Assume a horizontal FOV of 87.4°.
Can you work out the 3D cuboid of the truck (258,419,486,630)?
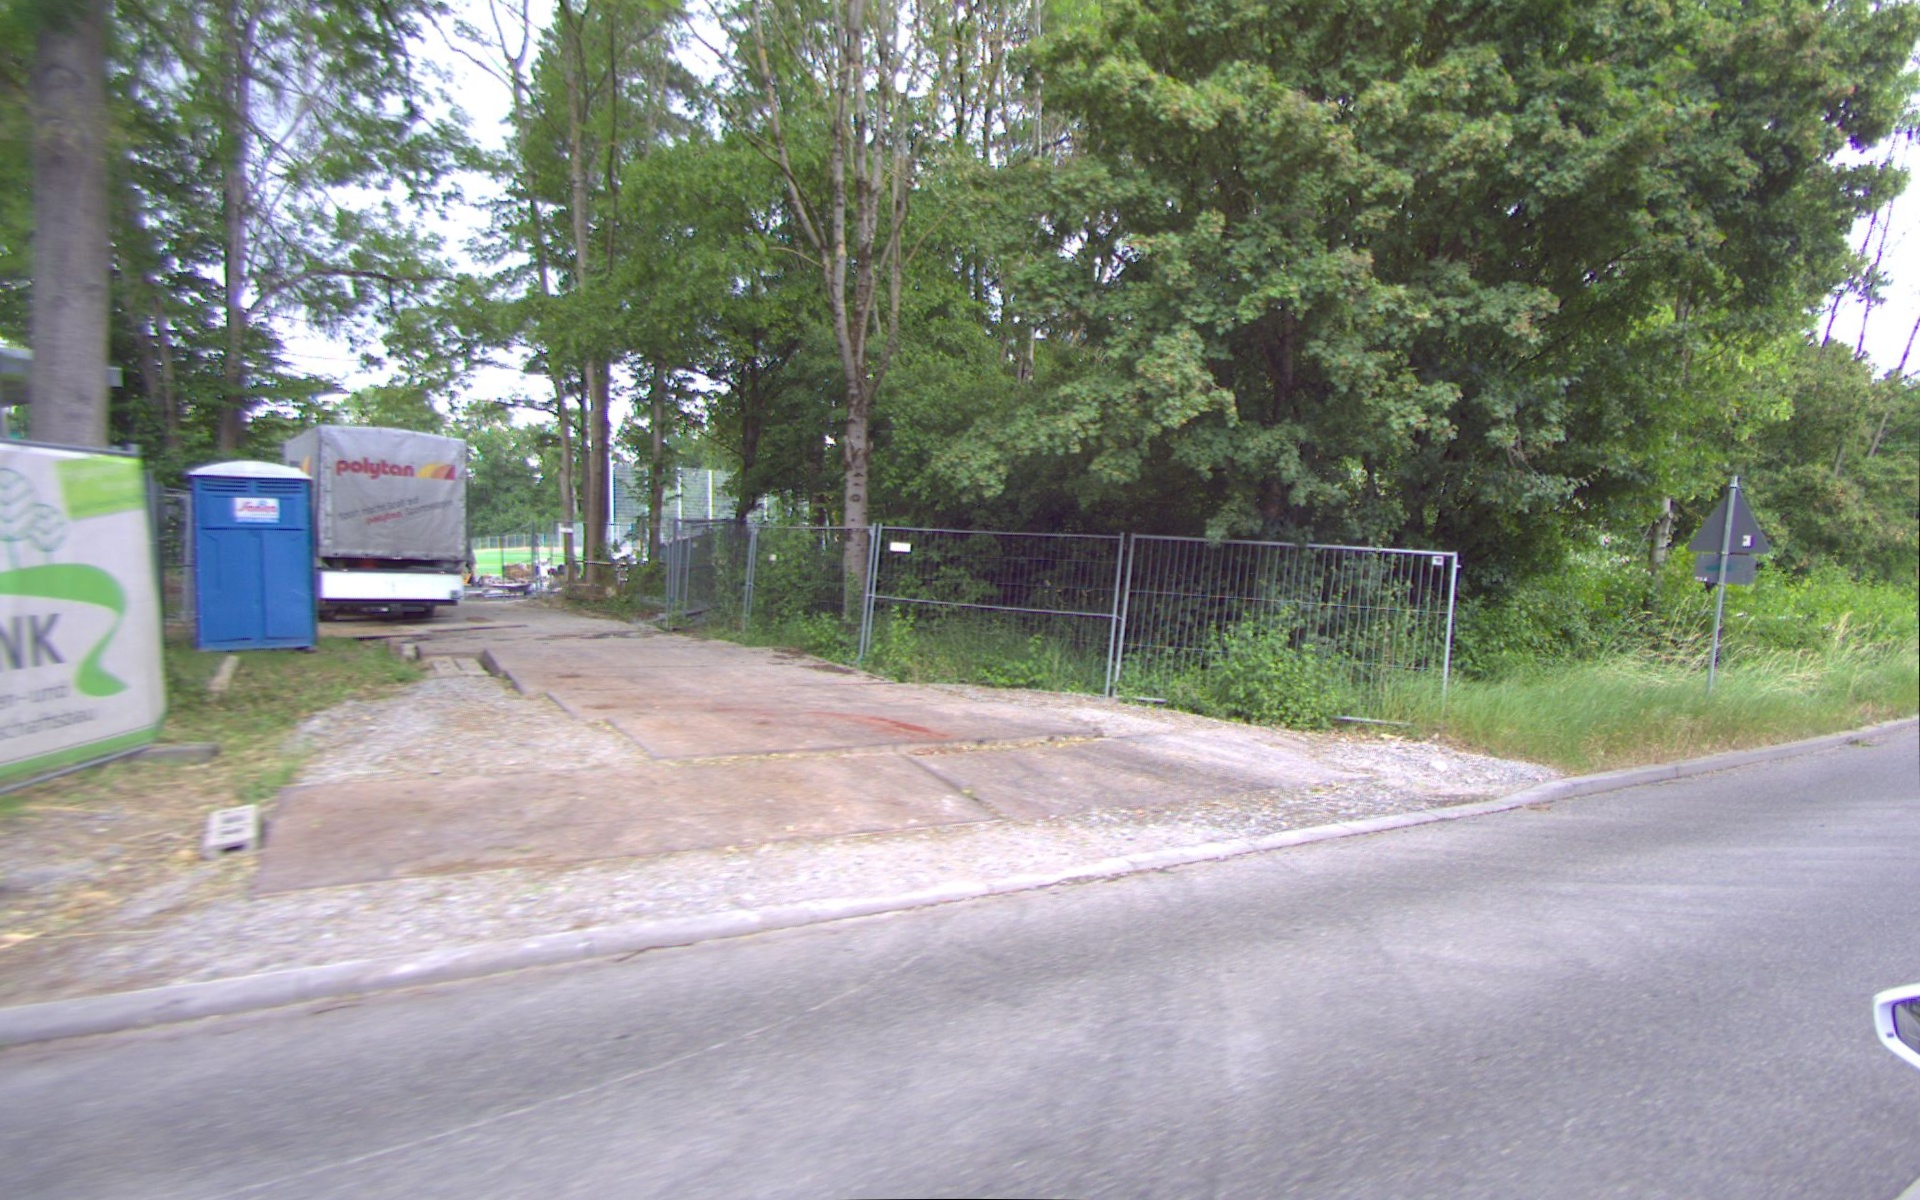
[{"bbox_3d":[-10.977,-1.320,18.509,2.435,3.243,5.840,-2,4,-42],"label":"truck"}]

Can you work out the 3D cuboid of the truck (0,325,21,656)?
[{"bbox_3d":[-9.815,-0.962,6.593,2.530,3.579,9.201,2,3,-25],"label":"truck"}]
